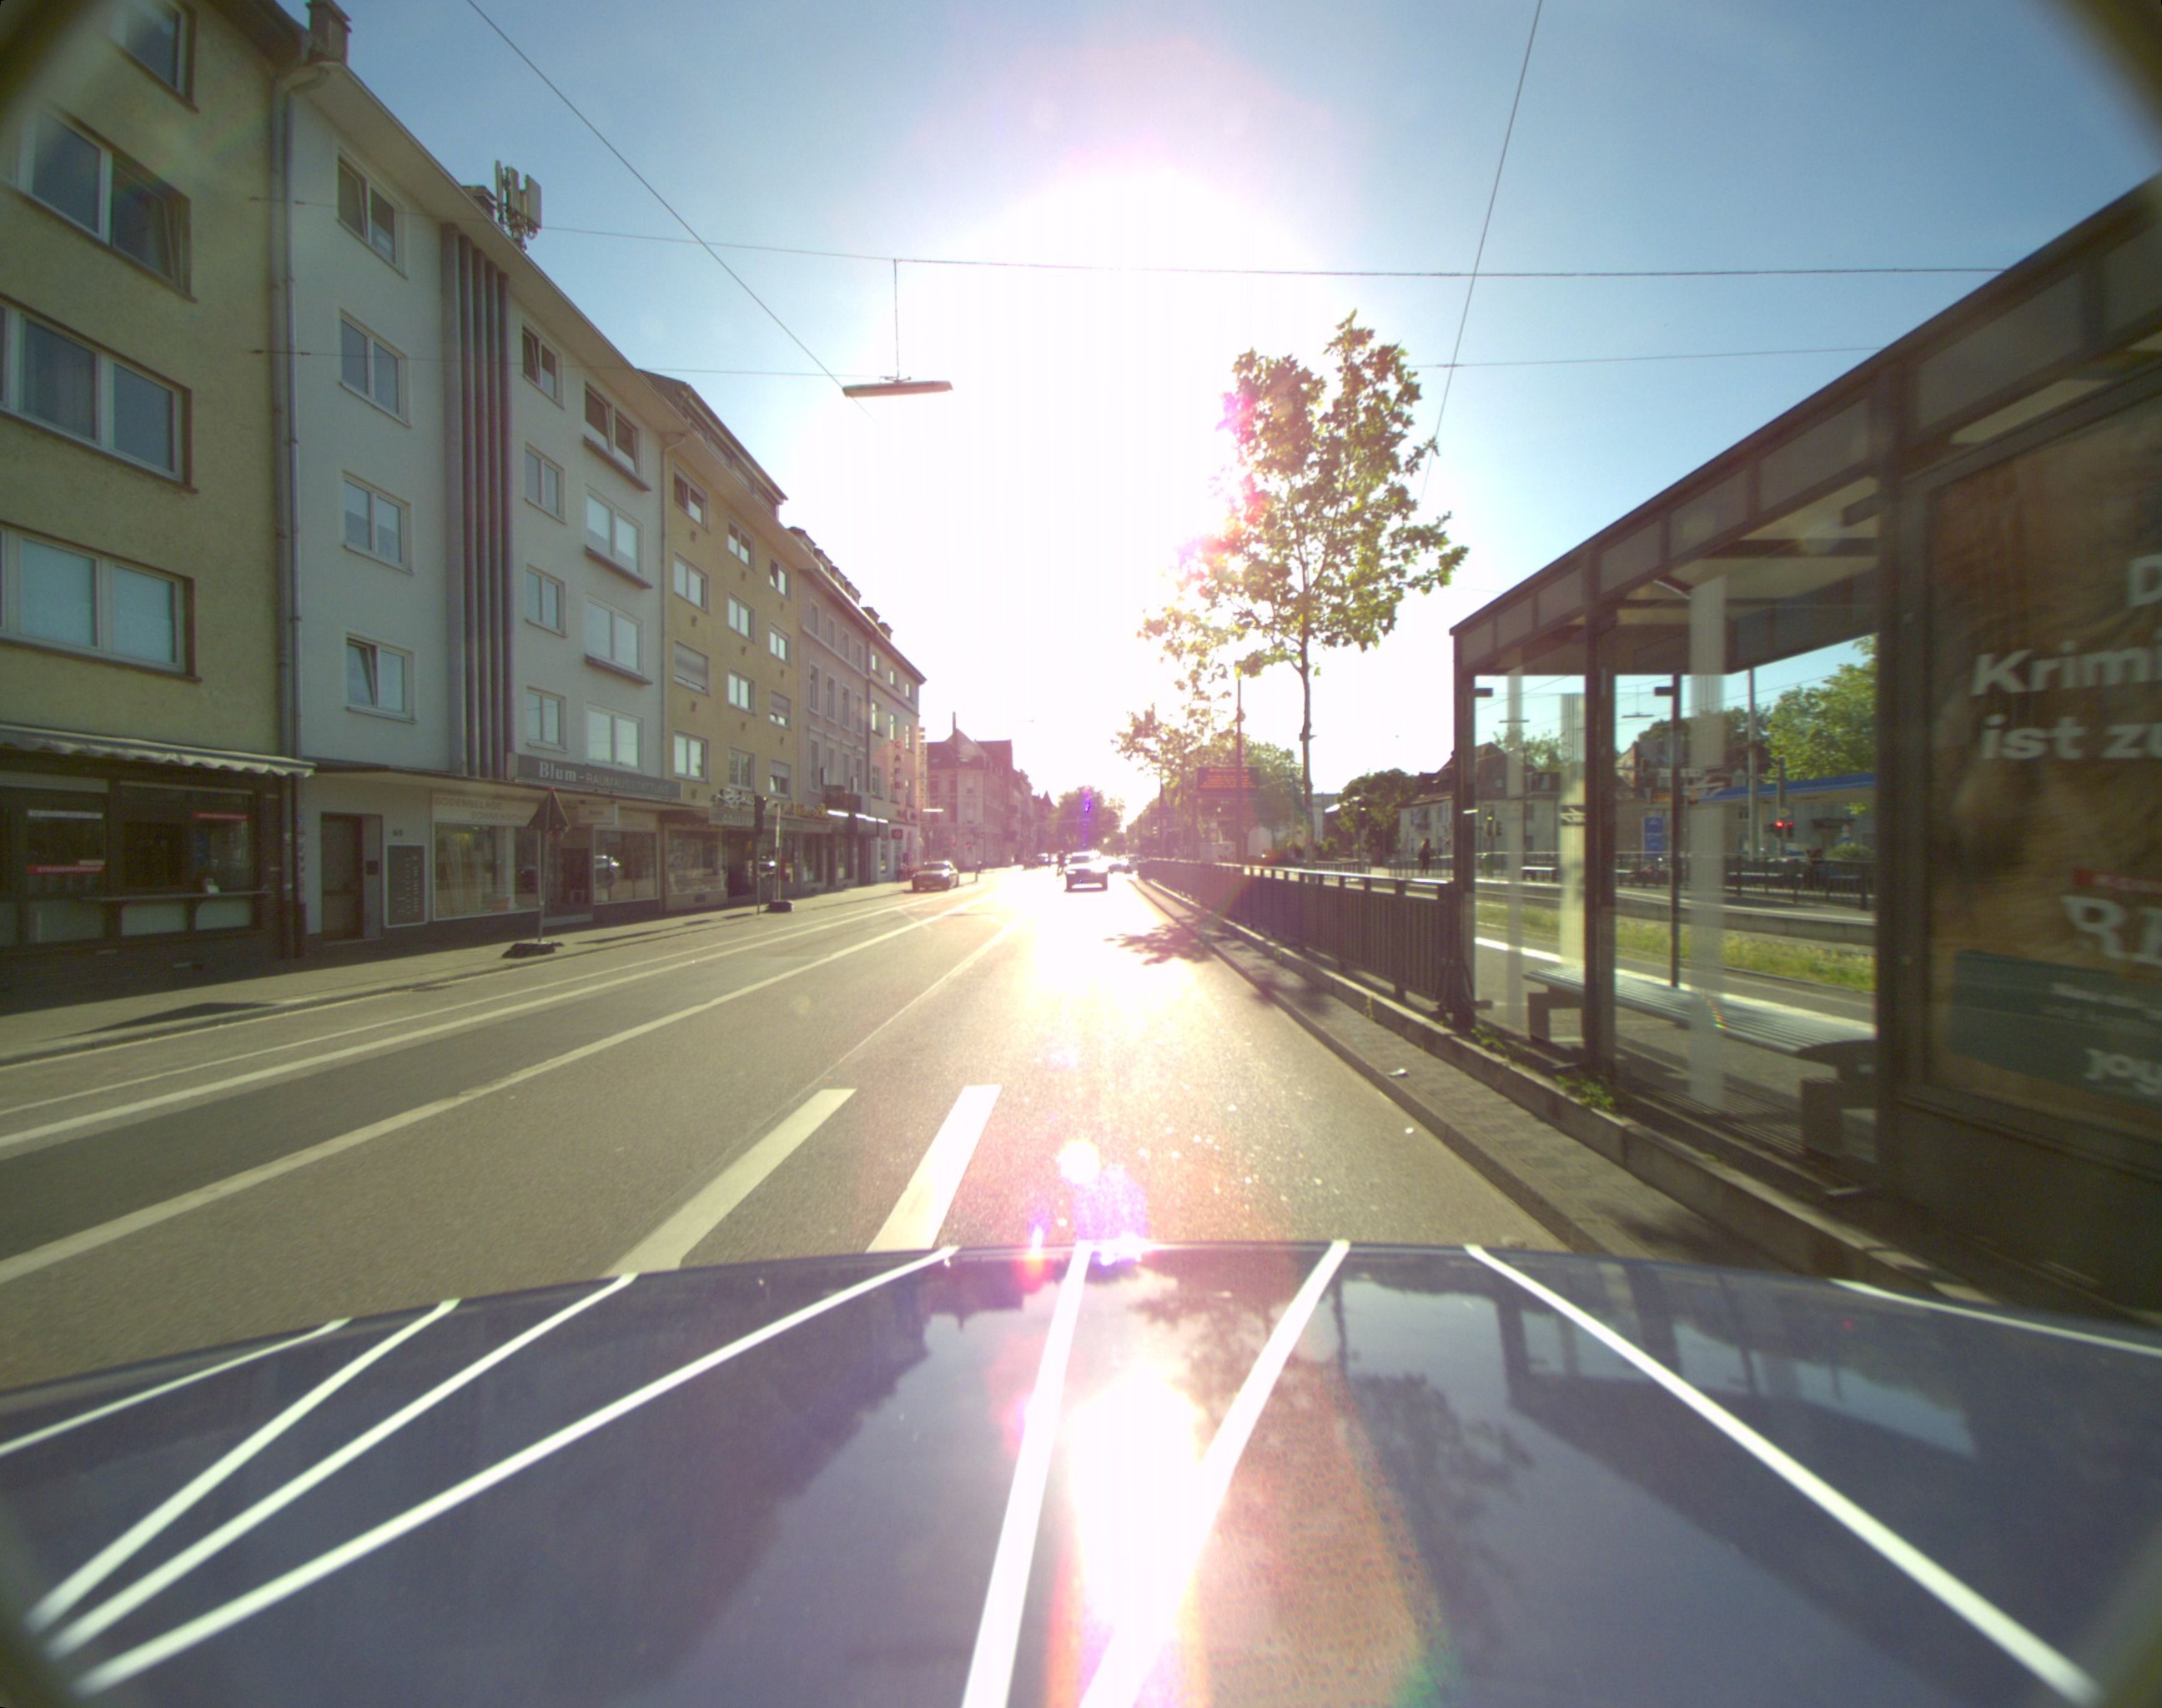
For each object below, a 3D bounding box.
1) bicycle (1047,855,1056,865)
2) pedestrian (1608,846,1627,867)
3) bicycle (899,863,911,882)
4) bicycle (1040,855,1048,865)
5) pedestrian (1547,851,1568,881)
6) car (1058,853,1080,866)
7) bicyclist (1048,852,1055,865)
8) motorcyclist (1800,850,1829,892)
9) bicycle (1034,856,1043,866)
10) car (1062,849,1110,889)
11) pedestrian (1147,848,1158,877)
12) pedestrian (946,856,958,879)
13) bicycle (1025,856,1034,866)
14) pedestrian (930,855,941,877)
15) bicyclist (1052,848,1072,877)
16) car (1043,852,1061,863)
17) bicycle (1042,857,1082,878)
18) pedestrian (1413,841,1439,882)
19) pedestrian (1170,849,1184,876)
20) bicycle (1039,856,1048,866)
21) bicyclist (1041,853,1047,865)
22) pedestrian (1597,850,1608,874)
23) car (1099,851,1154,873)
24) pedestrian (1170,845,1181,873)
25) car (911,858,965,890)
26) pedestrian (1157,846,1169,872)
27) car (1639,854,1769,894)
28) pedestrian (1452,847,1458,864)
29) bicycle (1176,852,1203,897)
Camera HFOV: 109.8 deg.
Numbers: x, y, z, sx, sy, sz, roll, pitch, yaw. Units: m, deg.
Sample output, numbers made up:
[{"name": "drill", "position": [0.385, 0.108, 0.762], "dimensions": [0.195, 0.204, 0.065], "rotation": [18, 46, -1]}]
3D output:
[{"name": "bicycle", "position": [-3.652, 0.771, 94.213], "dimensions": [0.693, 1.208, 2.299], "rotation": [0, 0, 6]}, {"name": "pedestrian", "position": [37.628, 0.150, 53.270], "dimensions": [0.768, 1.475, 0.800], "rotation": [-1, 1, -1]}, {"name": "bicycle", "position": [-10.944, 1.149, 47.115], "dimensions": [0.697, 1.102, 1.863], "rotation": [-1, 1, -13]}, {"name": "bicycle", "position": [-4.570, 0.775, 94.251], "dimensions": [0.693, 1.208, 2.299], "rotation": [0, 0, 6]}, {"name": "pedestrian", "position": [27.815, 0.687, 44.361], "dimensions": [0.653, 1.680, 0.826], "rotation": [-1, 1, -7]}, {"name": "car", "position": [-1.562, 0.726, 99.814], "dimensions": [2.294, 1.566, 4.596], "rotation": [0, 0, 6]}, {"name": "bicyclist", "position": [-3.691, 0.532, 94.911], "dimensions": [0.696, 1.596, 0.745], "rotation": [0, 1, 6]}, {"name": "motorcyclist", "position": [32.312, 0.739, 33.469], "dimensions": [0.552, 1.842, 0.745], "rotation": [0, 1, 5]}, {"name": "bicycle", "position": [-5.289, 0.811, 94.317], "dimensions": [0.693, 1.208, 2.299], "rotation": [0, 0, 6]}, {"name": "car", "position": [0.301, 0.627, 35.085], "dimensions": [1.979, 1.660, 4.621], "rotation": [-1, 0, 3]}, {"name": "pedestrian", "position": [4.444, 0.530, 47.007], "dimensions": [0.637, 1.817, 0.776], "rotation": [0, 1, 4]}, {"name": "pedestrian", "position": [-9.818, 1.039, 57.853], "dimensions": [0.775, 1.680, 0.800], "rotation": [-1, -1, 1]}, {"name": "bicycle", "position": [-6.404, 0.834, 94.403], "dimensions": [0.693, 1.208, 2.299], "rotation": [0, 0, 6]}, {"name": "pedestrian", "position": [-11.164, 0.915, 58.257], "dimensions": [0.663, 1.680, 0.677], "rotation": [0, 1, 1]}, {"name": "bicyclist", "position": [-1.259, 0.566, 49.699], "dimensions": [1.005, 1.872, 0.991], "rotation": [-1, 1, -26]}, {"name": "car", "position": [-4.393, 0.532, 116.729], "dimensions": [2.294, 1.716, 4.595], "rotation": [0, 0, 4]}, {"name": "bicycle", "position": [-1.226, 0.862, 49.676], "dimensions": [2.382, 1.349, 1.020], "rotation": [-1, 1, -26]}, {"name": "pedestrian", "position": [13.549, 0.273, 29.864], "dimensions": [0.686, 1.583, 0.735], "rotation": [0, 1, 2]}, {"name": "pedestrian", "position": [6.156, 0.524, 48.668], "dimensions": [0.803, 1.680, 1.008], "rotation": [0, 1, 4]}, {"name": "bicycle", "position": [-4.762, 0.864, 96.541], "dimensions": [0.693, 1.208, 2.299], "rotation": [0, 0, 6]}, {"name": "bicyclist", "position": [-4.737, 0.621, 96.590], "dimensions": [0.696, 1.596, 0.745], "rotation": [0, 1, 6]}, {"name": "pedestrian", "position": [37.892, 0.574, 55.163], "dimensions": [0.493, 1.760, 0.522], "rotation": [0, 1, 13]}, {"name": "car", "position": [3.590, 0.585, 58.982], "dimensions": [1.994, 1.594, 4.281], "rotation": [0, 1, 43]}, {"name": "pedestrian", "position": [6.173, 0.295, 49.659], "dimensions": [0.651, 1.821, 0.808], "rotation": [0, 1, 4]}, {"name": "car", "position": [-7.436, 1.005, 39.842], "dimensions": [1.904, 1.421, 4.716], "rotation": [-2, 0, 0]}, {"name": "pedestrian", "position": [5.218, 0.326, 48.547], "dimensions": [0.743, 1.680, 0.776], "rotation": [0, 1, 4]}, {"name": "car", "position": [23.660, 0.715, 29.052], "dimensions": [1.802, 1.412, 4.000], "rotation": [0, 0, 3]}, {"name": "pedestrian", "position": [38.364, 0.185, 77.974], "dimensions": [0.417, 1.733, 0.409], "rotation": [-1, 1, 1]}, {"name": "bicycle", "position": [3.430, 0.613, 24.159], "dimensions": [0.641, 1.371, 2.169], "rotation": [0, 0, 2]}]
